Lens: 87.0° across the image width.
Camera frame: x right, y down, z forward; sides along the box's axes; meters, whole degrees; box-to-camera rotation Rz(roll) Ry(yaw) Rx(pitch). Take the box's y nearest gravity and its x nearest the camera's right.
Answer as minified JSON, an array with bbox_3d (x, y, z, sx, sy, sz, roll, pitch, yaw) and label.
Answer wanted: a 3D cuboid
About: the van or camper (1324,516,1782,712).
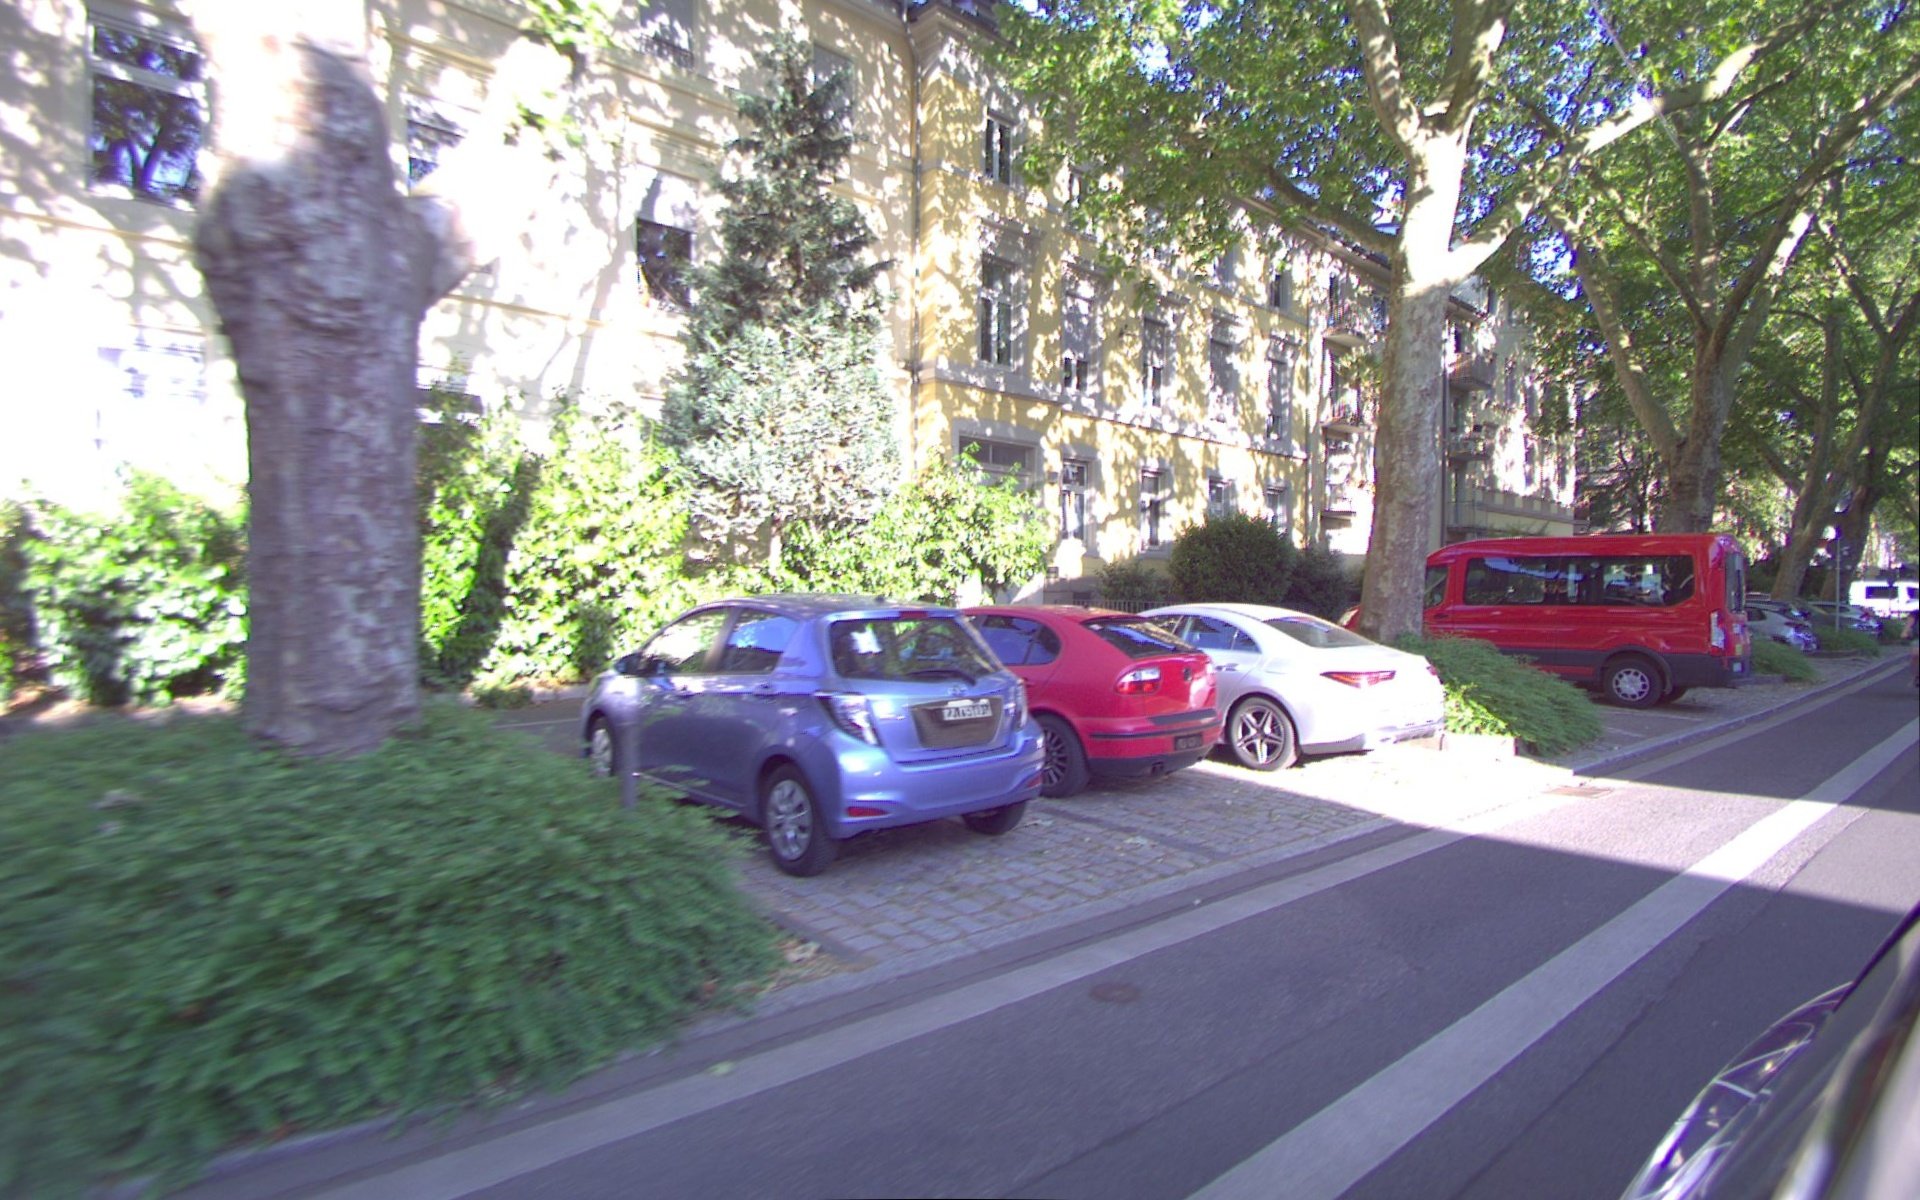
[{"bbox_3d":[9.112,0.054,16.066,2.249,2.550,5.822,1,2,-43],"label":"van or camper"}]

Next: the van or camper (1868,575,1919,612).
[{"bbox_3d":[65.780,-0.441,68.687,2.072,2.522,6.041,0,1,-42],"label":"van or camper"}]

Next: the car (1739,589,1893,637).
[{"bbox_3d":[29.959,0.422,35.490,4.027,1.498,1.655,2,2,43],"label":"car"}]

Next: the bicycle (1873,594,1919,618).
[{"bbox_3d":[48.531,0.302,52.461,0.405,1.193,2.051,-1,1,-5],"label":"bicycle"}]

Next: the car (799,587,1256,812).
[{"bbox_3d":[0.426,0.653,8.752,3.751,1.404,1.655,3,2,43],"label":"car"}]

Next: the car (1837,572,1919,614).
[{"bbox_3d":[52.677,-0.379,56.048,1.970,2.311,6.003,1,0,-40],"label":"car"}]

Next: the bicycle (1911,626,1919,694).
[{"bbox_3d":[15.852,0.922,16.272,2.468,1.017,0.596,0,-2,-42],"label":"bicycle"}]

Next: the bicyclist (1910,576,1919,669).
[{"bbox_3d":[15.670,0.385,16.103,0.919,1.573,0.614,0,-4,-42],"label":"bicyclist"}]

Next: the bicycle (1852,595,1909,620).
[{"bbox_3d":[45.867,0.381,50.437,0.405,1.193,2.049,-1,1,-33],"label":"bicycle"}]

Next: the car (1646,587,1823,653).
[{"bbox_3d":[20.981,0.482,27.520,1.514,1.619,3.601,-1,2,-41],"label":"car"}]

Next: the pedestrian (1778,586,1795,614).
[{"bbox_3d":[48.596,0.000,59.528,0.587,1.672,0.703,0,1,22],"label":"pedestrian"}]

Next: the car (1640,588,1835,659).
[{"bbox_3d":[19.463,0.524,25.435,1.664,1.536,3.602,0,2,-41],"label":"car"}]

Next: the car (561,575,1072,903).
[{"bbox_3d":[-1.194,0.633,6.856,1.652,1.527,3.758,0,2,-41],"label":"car"}]

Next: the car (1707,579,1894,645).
[{"bbox_3d":[26.225,0.321,31.682,1.818,1.740,4.267,0,3,-44],"label":"car"}]

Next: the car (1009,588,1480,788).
[{"bbox_3d":[2.587,0.668,10.115,1.729,1.434,4.296,0,2,-40],"label":"car"}]

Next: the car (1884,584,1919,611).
[{"bbox_3d":[61.485,-0.146,64.365,1.767,1.676,3.957,-1,2,-44],"label":"car"}]

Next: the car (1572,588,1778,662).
[{"bbox_3d":[16.800,0.555,23.891,1.664,1.543,3.676,3,0,-42],"label":"car"}]
